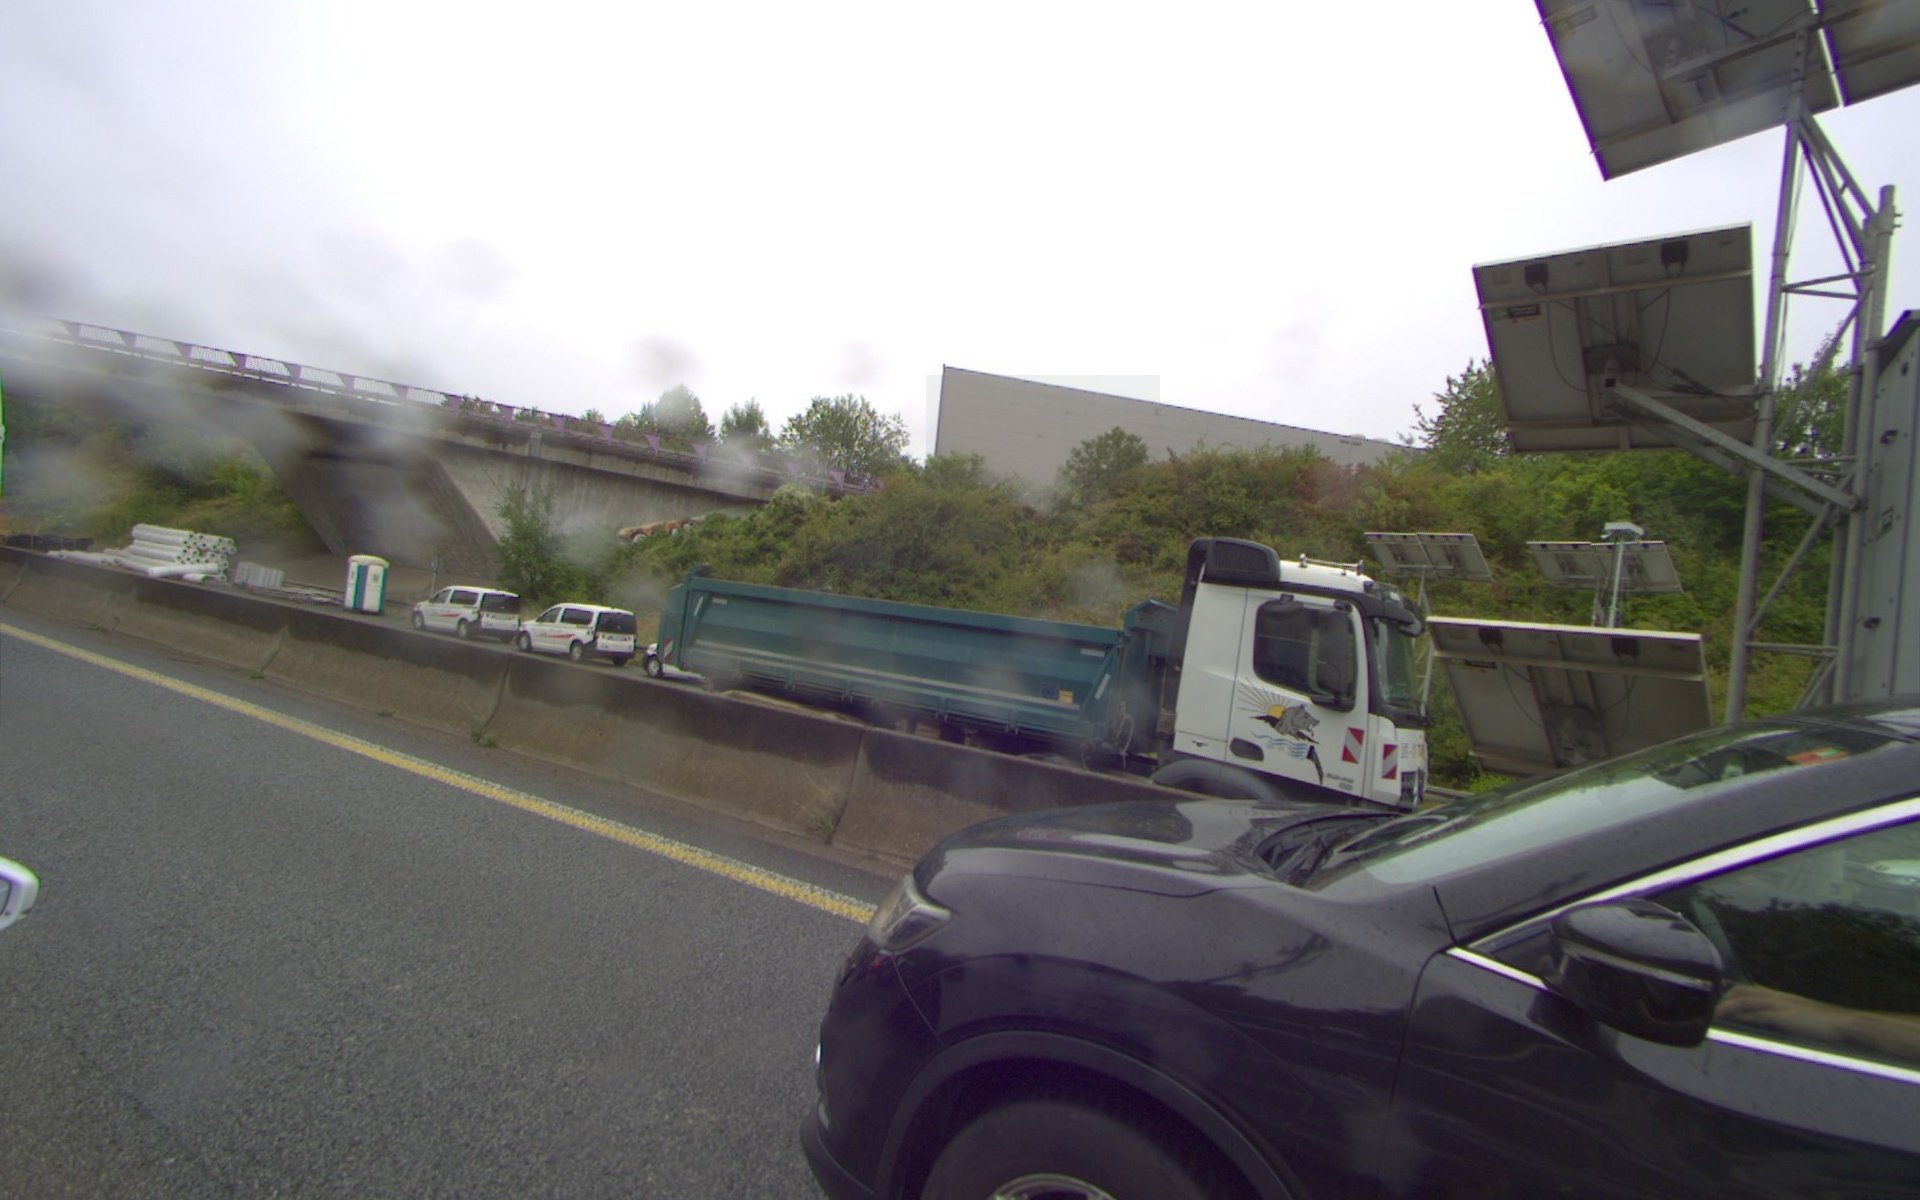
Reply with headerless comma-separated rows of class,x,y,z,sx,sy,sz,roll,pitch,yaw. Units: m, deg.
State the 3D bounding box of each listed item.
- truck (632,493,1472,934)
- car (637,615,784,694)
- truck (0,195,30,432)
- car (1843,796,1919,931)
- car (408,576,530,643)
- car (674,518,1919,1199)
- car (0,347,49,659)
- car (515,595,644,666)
truck,0.498,0.757,11.338,8.968,3.168,2.525,6,-2,32
car,-7.322,1.568,29.404,4.057,1.745,1.731,6,-2,33
truck,-24.188,-4.372,19.242,20.042,5.739,3.986,6,-2,32
car,16.016,4.229,14.753,4.197,1.778,1.732,6,-2,31
car,-17.464,0.311,35.721,4.088,1.829,1.851,6,-2,32
car,1.884,0.971,1.753,4.563,1.694,1.893,6,-2,31
car,-11.385,-1.195,9.684,6.017,2.707,2.148,6,-2,33
car,-12.284,0.969,32.396,4.058,1.765,1.731,6,-2,34
